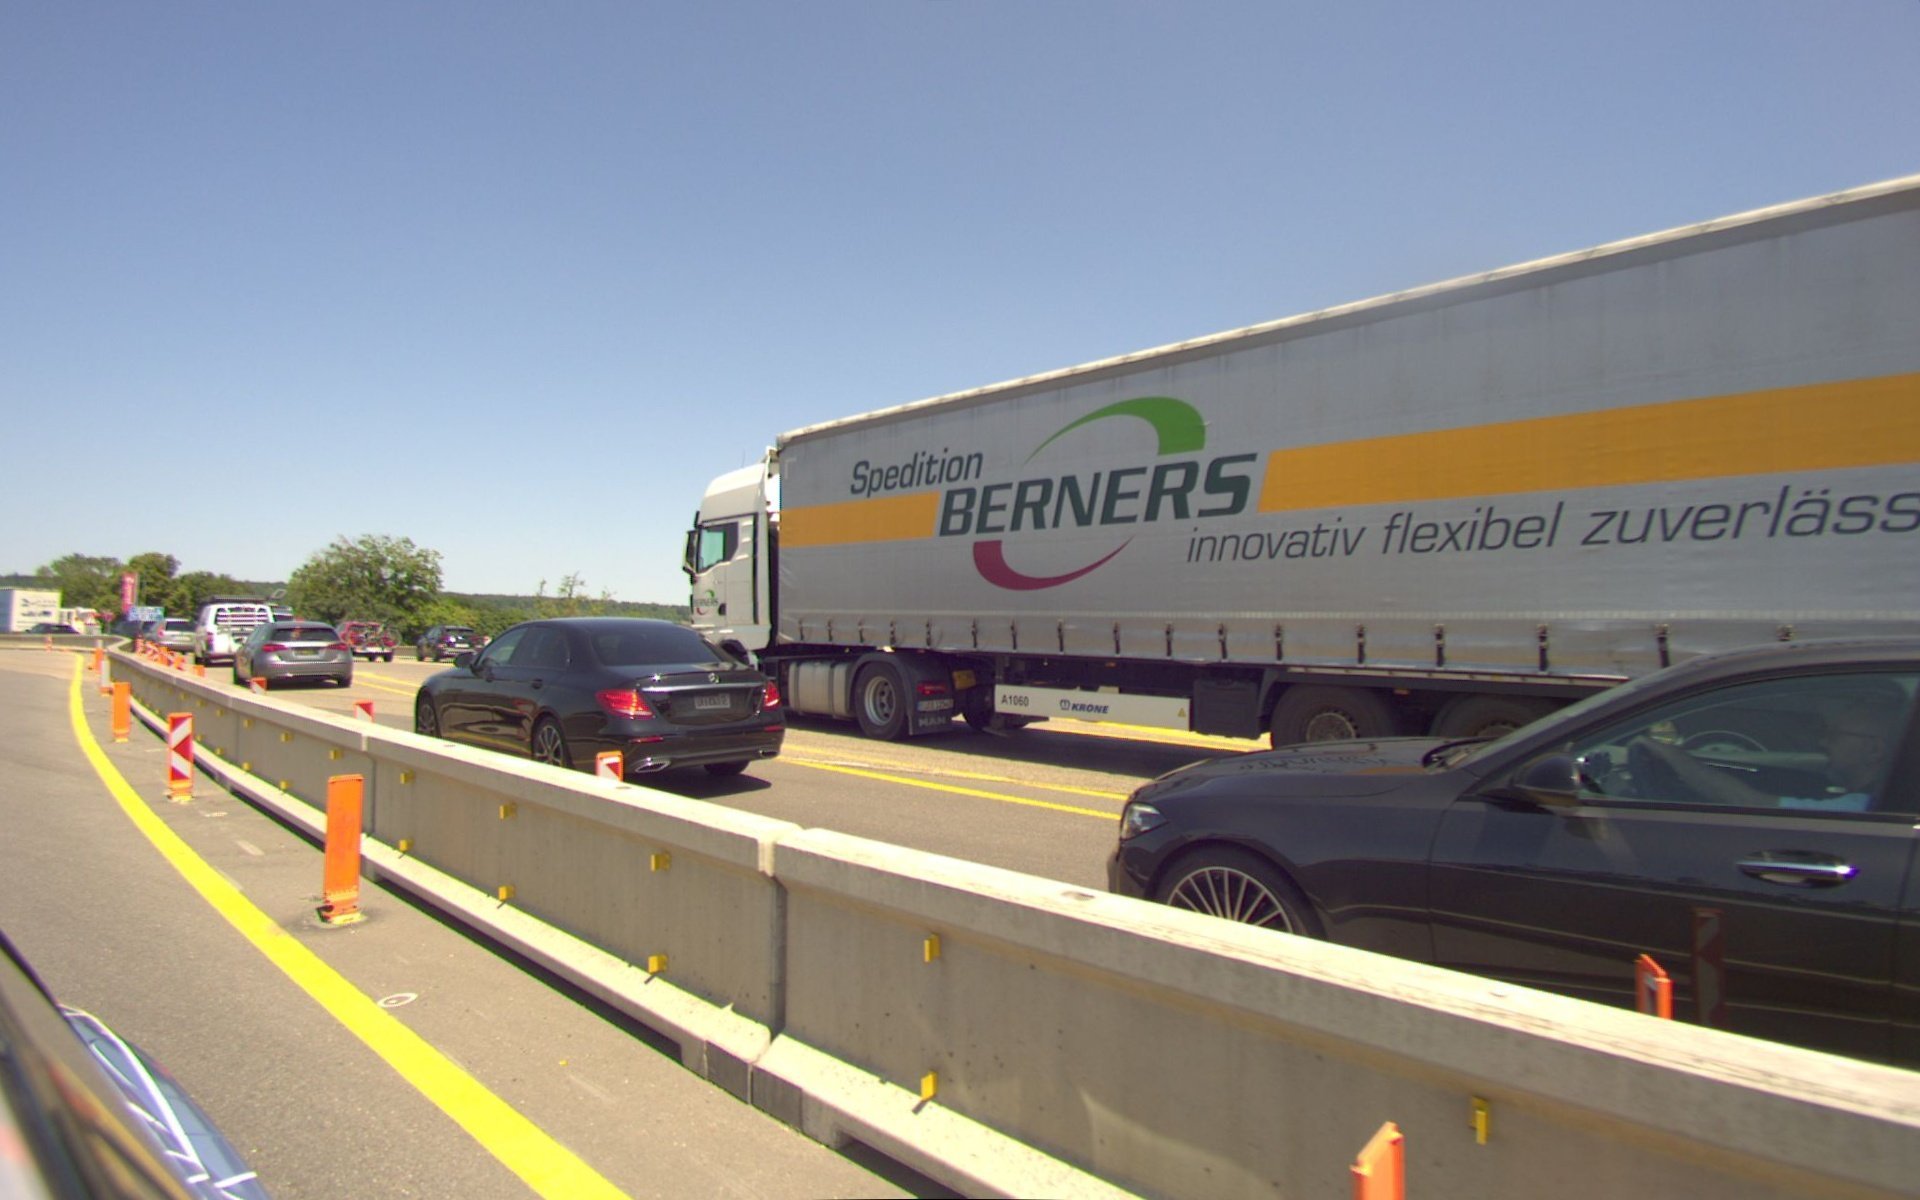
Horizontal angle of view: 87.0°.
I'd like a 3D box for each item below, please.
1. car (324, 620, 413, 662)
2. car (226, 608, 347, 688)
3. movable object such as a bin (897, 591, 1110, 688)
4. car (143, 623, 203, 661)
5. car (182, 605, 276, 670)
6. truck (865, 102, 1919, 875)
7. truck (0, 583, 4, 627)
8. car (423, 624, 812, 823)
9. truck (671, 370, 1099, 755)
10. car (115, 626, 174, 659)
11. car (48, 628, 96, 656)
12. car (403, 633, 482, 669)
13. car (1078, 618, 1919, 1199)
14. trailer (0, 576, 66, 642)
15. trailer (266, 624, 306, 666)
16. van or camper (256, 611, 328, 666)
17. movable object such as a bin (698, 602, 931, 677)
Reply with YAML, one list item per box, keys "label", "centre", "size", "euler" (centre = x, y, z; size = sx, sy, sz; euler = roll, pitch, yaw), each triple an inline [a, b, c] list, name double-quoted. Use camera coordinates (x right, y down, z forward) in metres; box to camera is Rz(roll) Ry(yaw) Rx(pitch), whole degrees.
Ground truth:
- label: "car"
  centre: [-22.440, 1.527, 38.303]
  size: [1.969, 1.513, 4.659]
  euler: [1, -2, -42]
- label: "car"
  centre: [-14.930, 1.025, 22.353]
  size: [1.492, 1.616, 3.956]
  euler: [2, -3, -44]
- label: "movable object such as a bin"
  centre: [1.123, 1.103, 28.791]
  size: [3.250, 2.459, 5.448]
  euler: [2, -3, -40]
- label: "car"
  centre: [-35.054, 1.869, 45.048]
  size: [1.736, 1.628, 4.232]
  euler: [2, -3, -43]
- label: "car"
  centre: [-23.761, 1.205, 32.824]
  size: [1.850, 1.887, 5.064]
  euler: [-3, 0, -42]
- label: "truck"
  centre: [3.974, -0.504, 8.969]
  size: [2.741, 4.310, 11.787]
  euler: [3, -4, -44]
- label: "truck"
  centre: [-72.595, 0.783, 73.370]
  size: [6.113, 4.160, 2.894]
  euler: [-1, -5, 30]
- label: "car"
  centre: [-3.303, 0.949, 9.308]
  size: [4.131, 1.419, 1.706]
  euler: [-2, -3, 44]
- label: "truck"
  centre: [-1.317, -0.303, 14.441]
  size: [2.738, 4.292, 6.203]
  euler: [3, -4, -44]
- label: "car"
  centre: [-47.806, 2.504, 59.283]
  size: [4.707, 1.778, 1.757]
  euler: [-2, -6, 41]
- label: "car"
  centre: [-51.050, 2.440, 58.144]
  size: [4.472, 1.493, 1.670]
  euler: [-2, -6, 45]
- label: "car"
  centre: [-22.201, 2.167, 43.304]
  size: [1.783, 1.404, 4.659]
  euler: [6, -6, -42]
- label: "car"
  centre: [2.566, 0.800, 3.072]
  size: [4.247, 1.464, 1.638]
  euler: [-2, -3, 42]
- label: "trailer"
  centre: [-66.913, 0.728, 70.121]
  size: [13.858, 4.160, 2.894]
  euler: [-1, -5, 30]
- label: "trailer"
  centre: [-72.701, 5.024, 109.243]
  size: [3.107, 4.143, 14.200]
  euler: [4, -5, -33]
- label: "van or camper"
  centre: [-34.005, 1.968, 51.430]
  size: [2.073, 2.561, 6.314]
  euler: [5, -5, -41]
- label: "movable object such as a bin"
  centre: [-5.388, 1.361, 37.357]
  size: [7.792, 2.451, 3.731]
  euler: [-1, -1, -23]
